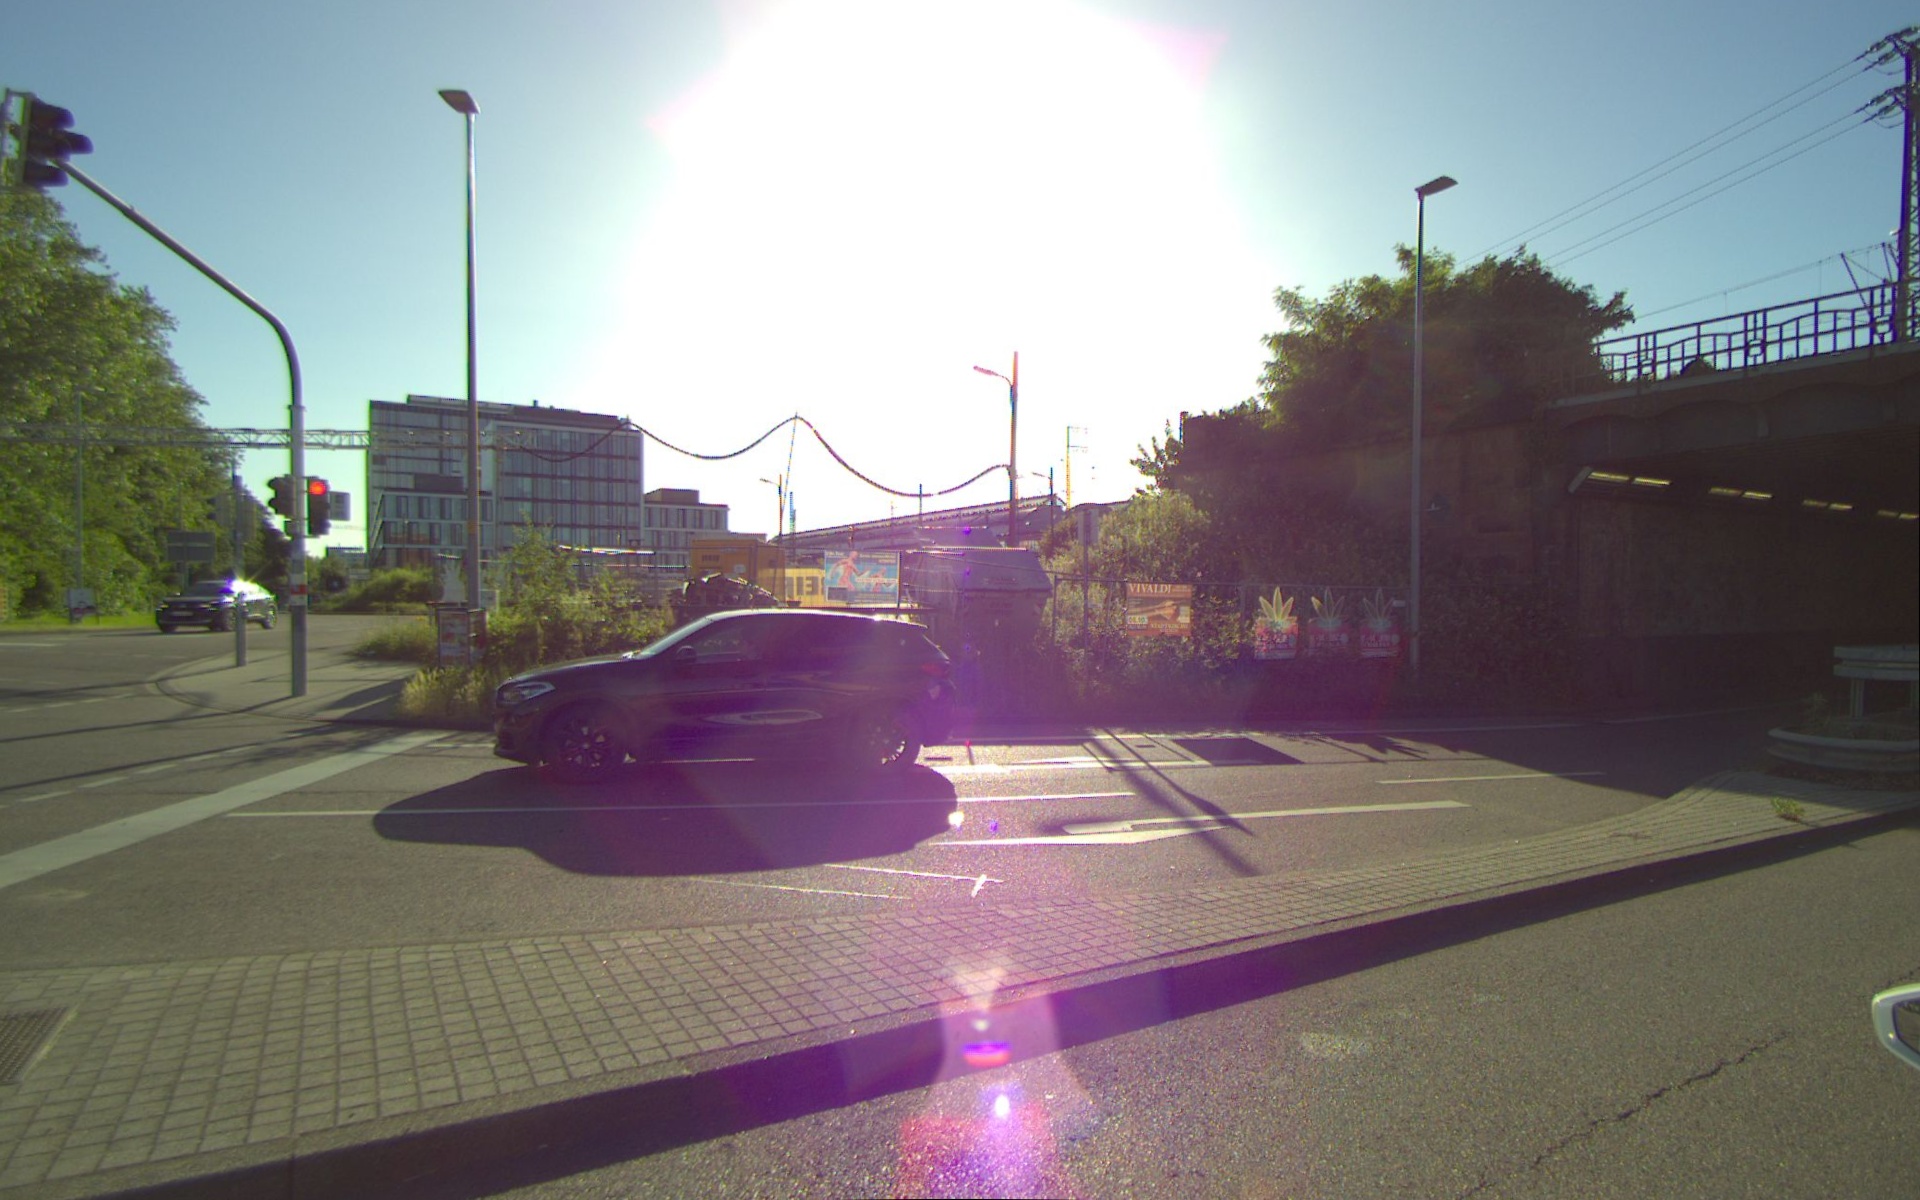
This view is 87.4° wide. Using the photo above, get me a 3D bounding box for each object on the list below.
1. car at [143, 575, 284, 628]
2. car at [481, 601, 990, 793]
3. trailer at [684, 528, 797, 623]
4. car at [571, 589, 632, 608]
[{"bbox_3d":[-22.683,0.017,30.707,1.721,1.496,3.994,1,1,-8],"label":"car"},{"bbox_3d":[-2.069,0.837,9.675,4.317,1.538,1.949,1,-1,-18],"label":"car"},{"bbox_3d":[-8.416,-0.872,39.388,2.946,3.336,6.667,2,0,-1],"label":"trailer"},{"bbox_3d":[-37.770,-0.127,105.902,5.667,1.869,1.897,1,1,-36],"label":"car"}]
